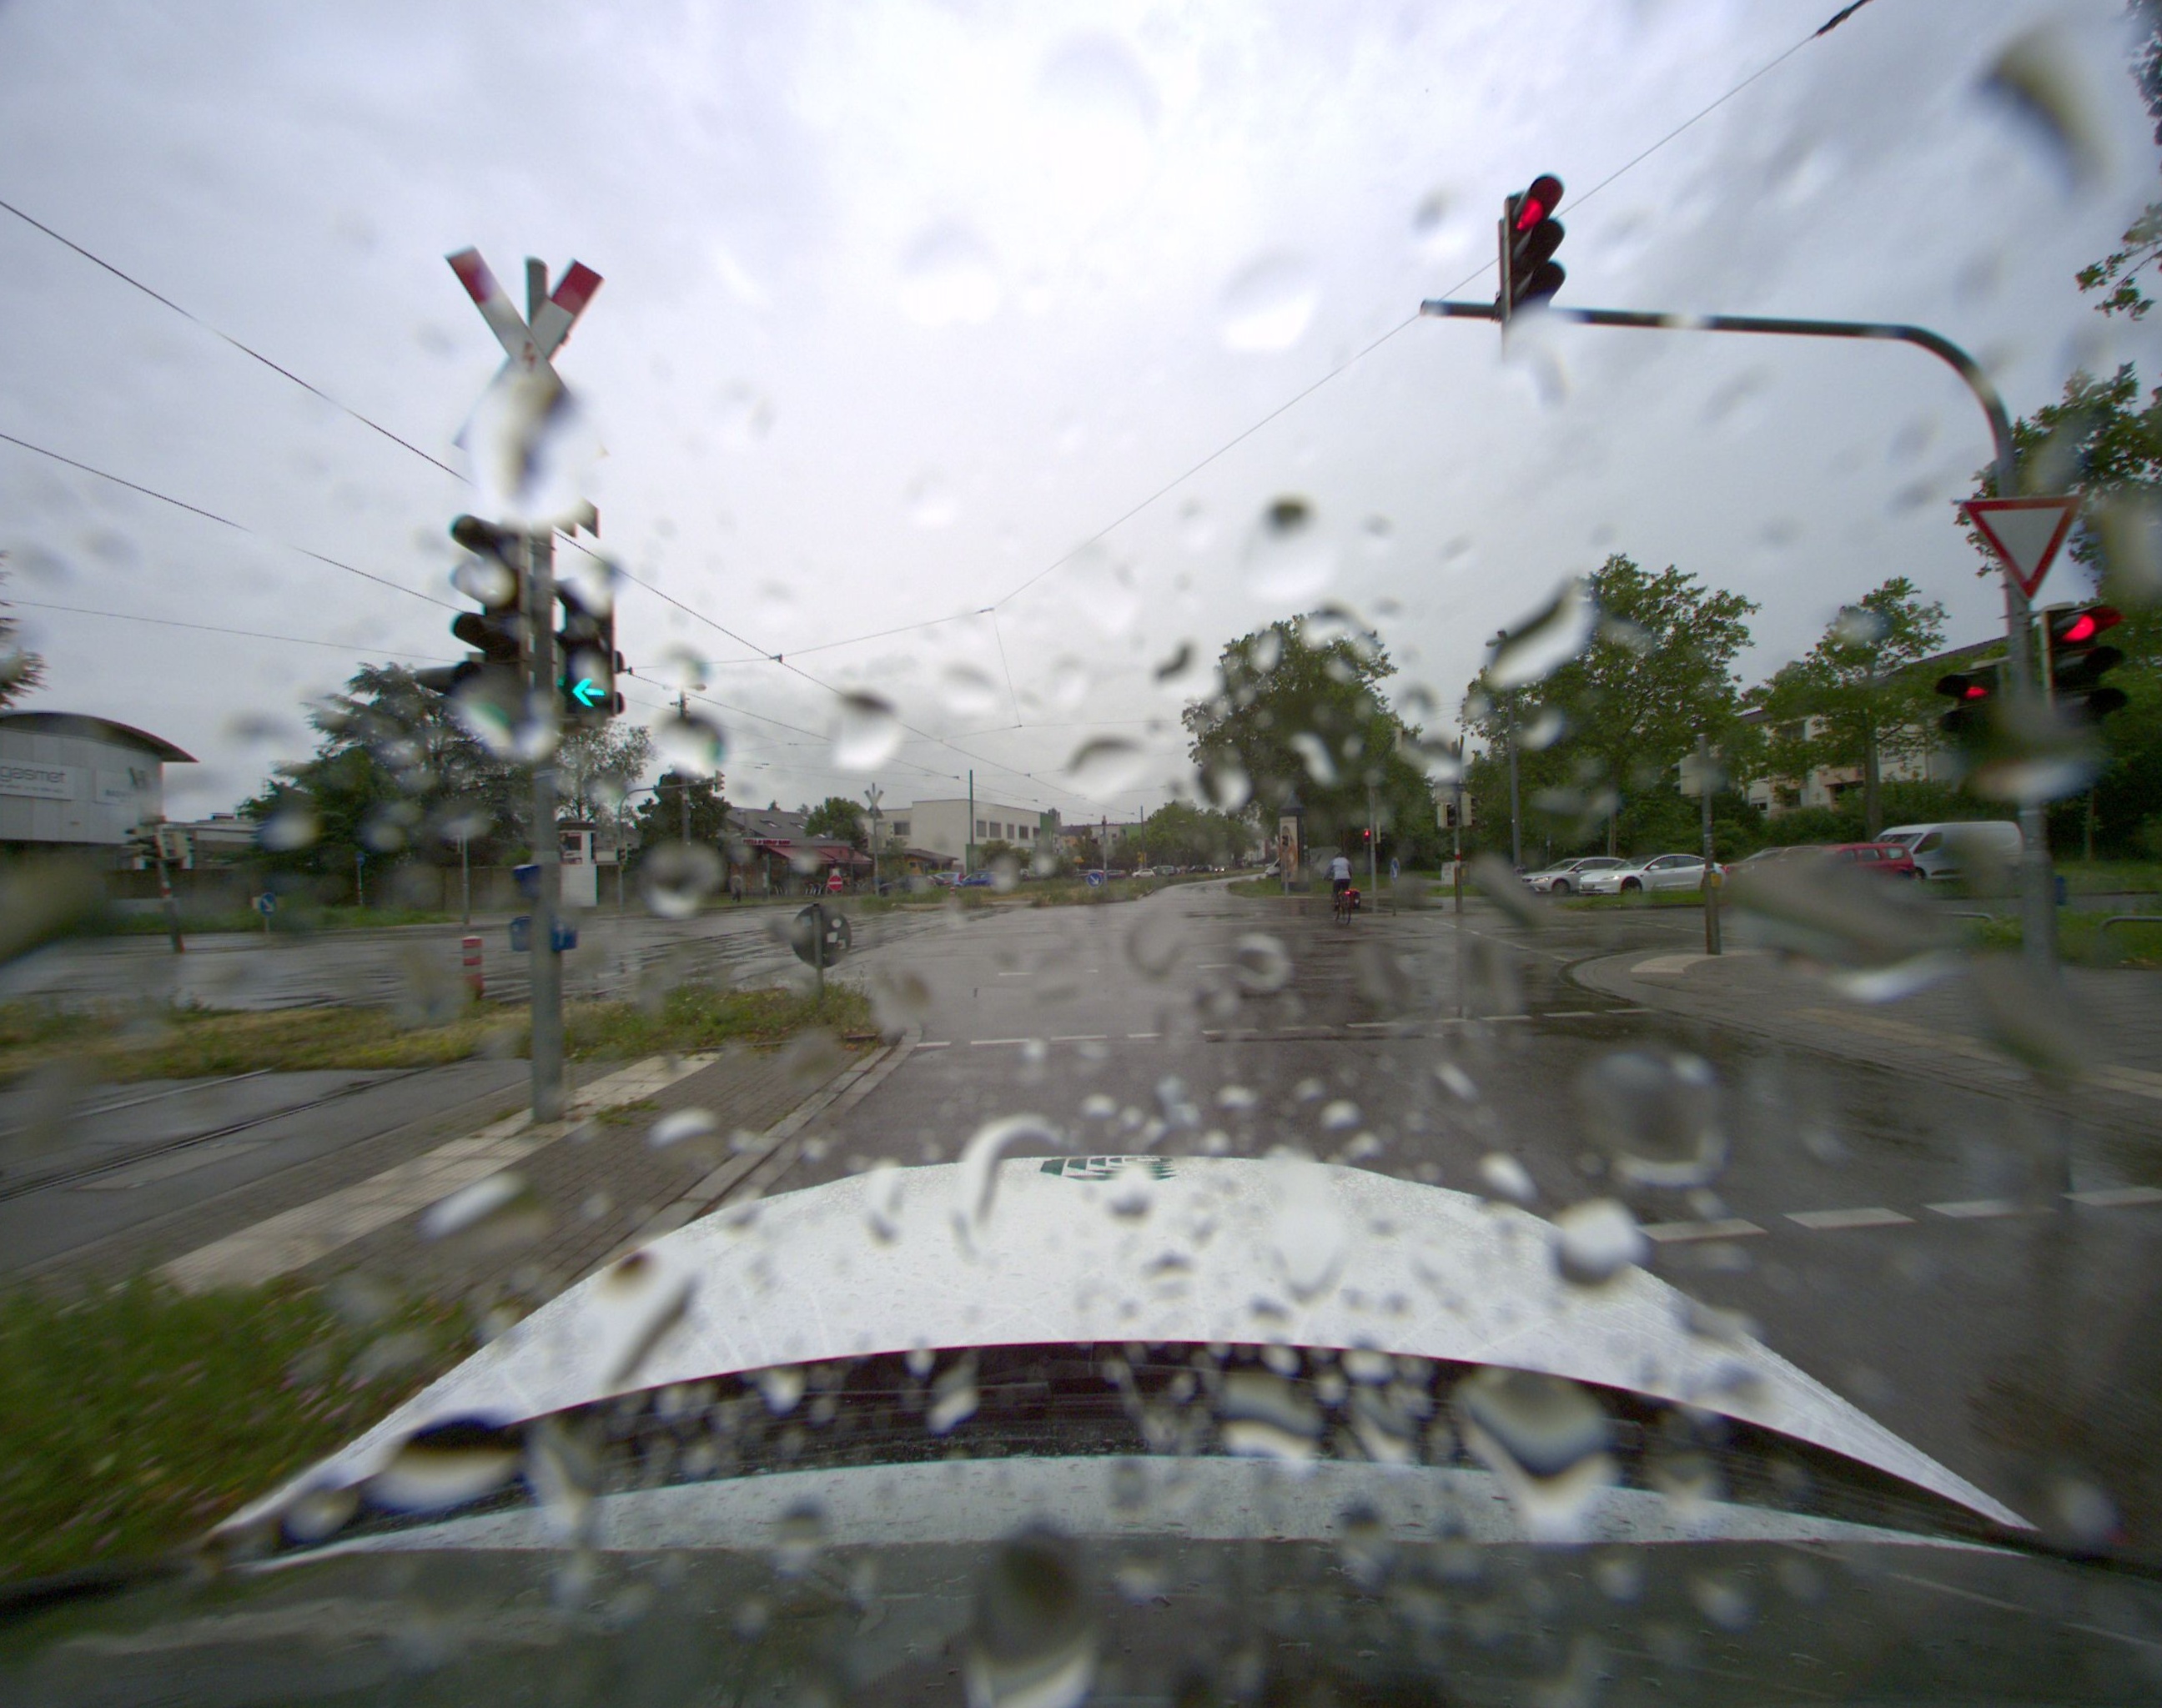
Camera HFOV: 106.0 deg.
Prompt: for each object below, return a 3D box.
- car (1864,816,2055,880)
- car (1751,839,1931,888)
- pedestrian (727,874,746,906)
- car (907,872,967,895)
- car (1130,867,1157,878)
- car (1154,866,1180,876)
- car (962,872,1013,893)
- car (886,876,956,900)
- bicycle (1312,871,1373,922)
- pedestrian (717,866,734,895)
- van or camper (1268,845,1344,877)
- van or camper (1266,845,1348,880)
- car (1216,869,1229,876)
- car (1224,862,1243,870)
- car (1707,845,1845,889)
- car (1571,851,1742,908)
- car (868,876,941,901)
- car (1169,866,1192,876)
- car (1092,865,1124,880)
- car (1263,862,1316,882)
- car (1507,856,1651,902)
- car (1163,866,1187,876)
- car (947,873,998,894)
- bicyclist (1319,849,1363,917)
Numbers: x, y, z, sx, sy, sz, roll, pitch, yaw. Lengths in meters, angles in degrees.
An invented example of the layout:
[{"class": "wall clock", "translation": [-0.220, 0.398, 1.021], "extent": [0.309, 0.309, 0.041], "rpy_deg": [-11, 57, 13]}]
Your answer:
[{"class": "car", "translation": [34.324, -0.209, 31.906], "extent": [5.592, 2.392, 1.997], "rpy_deg": [0, -1, -4]}, {"class": "car", "translation": [25.759, 0.327, 27.695], "extent": [4.593, 1.607, 1.789], "rpy_deg": [0, -1, -3]}, {"class": "pedestrian", "translation": [-20.118, 2.097, 47.572], "extent": [0.723, 1.797, 0.885], "rpy_deg": [0, -1, -3]}, {"class": "car", "translation": [-10.701, 2.171, 60.726], "extent": [3.969, 1.582, 1.860], "rpy_deg": [-2, -1, 4]}, {"class": "car", "translation": [9.394, 2.816, 123.018], "extent": [3.775, 1.703, 1.830], "rpy_deg": [0, -1, -10]}, {"class": "car", "translation": [14.930, 2.992, 141.150], "extent": [3.989, 1.759, 2.002], "rpy_deg": [0, -1, -12]}, {"class": "car", "translation": [-7.927, 2.386, 68.958], "extent": [4.115, 1.641, 1.920], "rpy_deg": [-1, -1, -15]}, {"class": "car", "translation": [-11.213, 2.372, 57.243], "extent": [4.481, 1.418, 1.858], "rpy_deg": [-3, -1, 0]}, {"class": "bicycle", "translation": [5.966, 0.957, 18.694], "extent": [0.689, 1.117, 1.882], "rpy_deg": [0, -2, -4]}, {"class": "pedestrian", "translation": [-24.681, 1.829, 56.571], "extent": [0.785, 2.014, 0.729], "rpy_deg": [-1, -2, 22]}, {"class": "van or camper", "translation": [23.747, 0.792, 85.785], "extent": [7.361, 3.179, 3.279], "rpy_deg": [-1, -2, 22]}, {"class": "van or camper", "translation": [21.420, 0.884, 77.055], "extent": [7.264, 3.179, 3.277], "rpy_deg": [-1, -2, 17]}, {"class": "car", "translation": [31.588, 4.117, 181.772], "extent": [1.874, 1.662, 4.021], "rpy_deg": [-1, -1, 23]}, {"class": "car", "translation": [36.559, 2.842, 195.321], "extent": [3.980, 1.832, 1.996], "rpy_deg": [0, -1, -5]}, {"class": "car", "translation": [26.823, 0.499, 31.482], "extent": [4.051, 1.607, 1.786], "rpy_deg": [0, -1, -7]}, {"class": "car", "translation": [19.309, 0.830, 27.445], "extent": [4.588, 1.828, 1.930], "rpy_deg": [0, -1, -7]}, {"class": "car", "translation": [-11.862, 2.330, 54.950], "extent": [4.462, 1.418, 1.858], "rpy_deg": [-3, -1, 0]}, {"class": "car", "translation": [18.956, 3.251, 155.289], "extent": [3.980, 1.832, 1.996], "rpy_deg": [0, -1, -5]}, {"class": "car", "translation": [3.517, 2.449, 106.238], "extent": [3.983, 1.888, 1.995], "rpy_deg": [0, -1, -7]}, {"class": "car", "translation": [18.948, 1.660, 74.025], "extent": [4.406, 1.717, 2.010], "rpy_deg": [-1, -2, 20]}, {"class": "car", "translation": [18.799, 0.930, 30.839], "extent": [4.388, 1.691, 1.930], "rpy_deg": [0, -1, -7]}, {"class": "car", "translation": [17.407, 3.145, 150.201], "extent": [3.989, 1.832, 1.992], "rpy_deg": [0, -1, -12]}, {"class": "car", "translation": [-8.797, 2.347, 65.780], "extent": [3.989, 1.582, 1.922], "rpy_deg": [-1, -1, -12]}, {"class": "bicyclist", "translation": [5.960, 0.665, 18.713], "extent": [0.689, 1.506, 0.843], "rpy_deg": [0, -2, -4]}]
